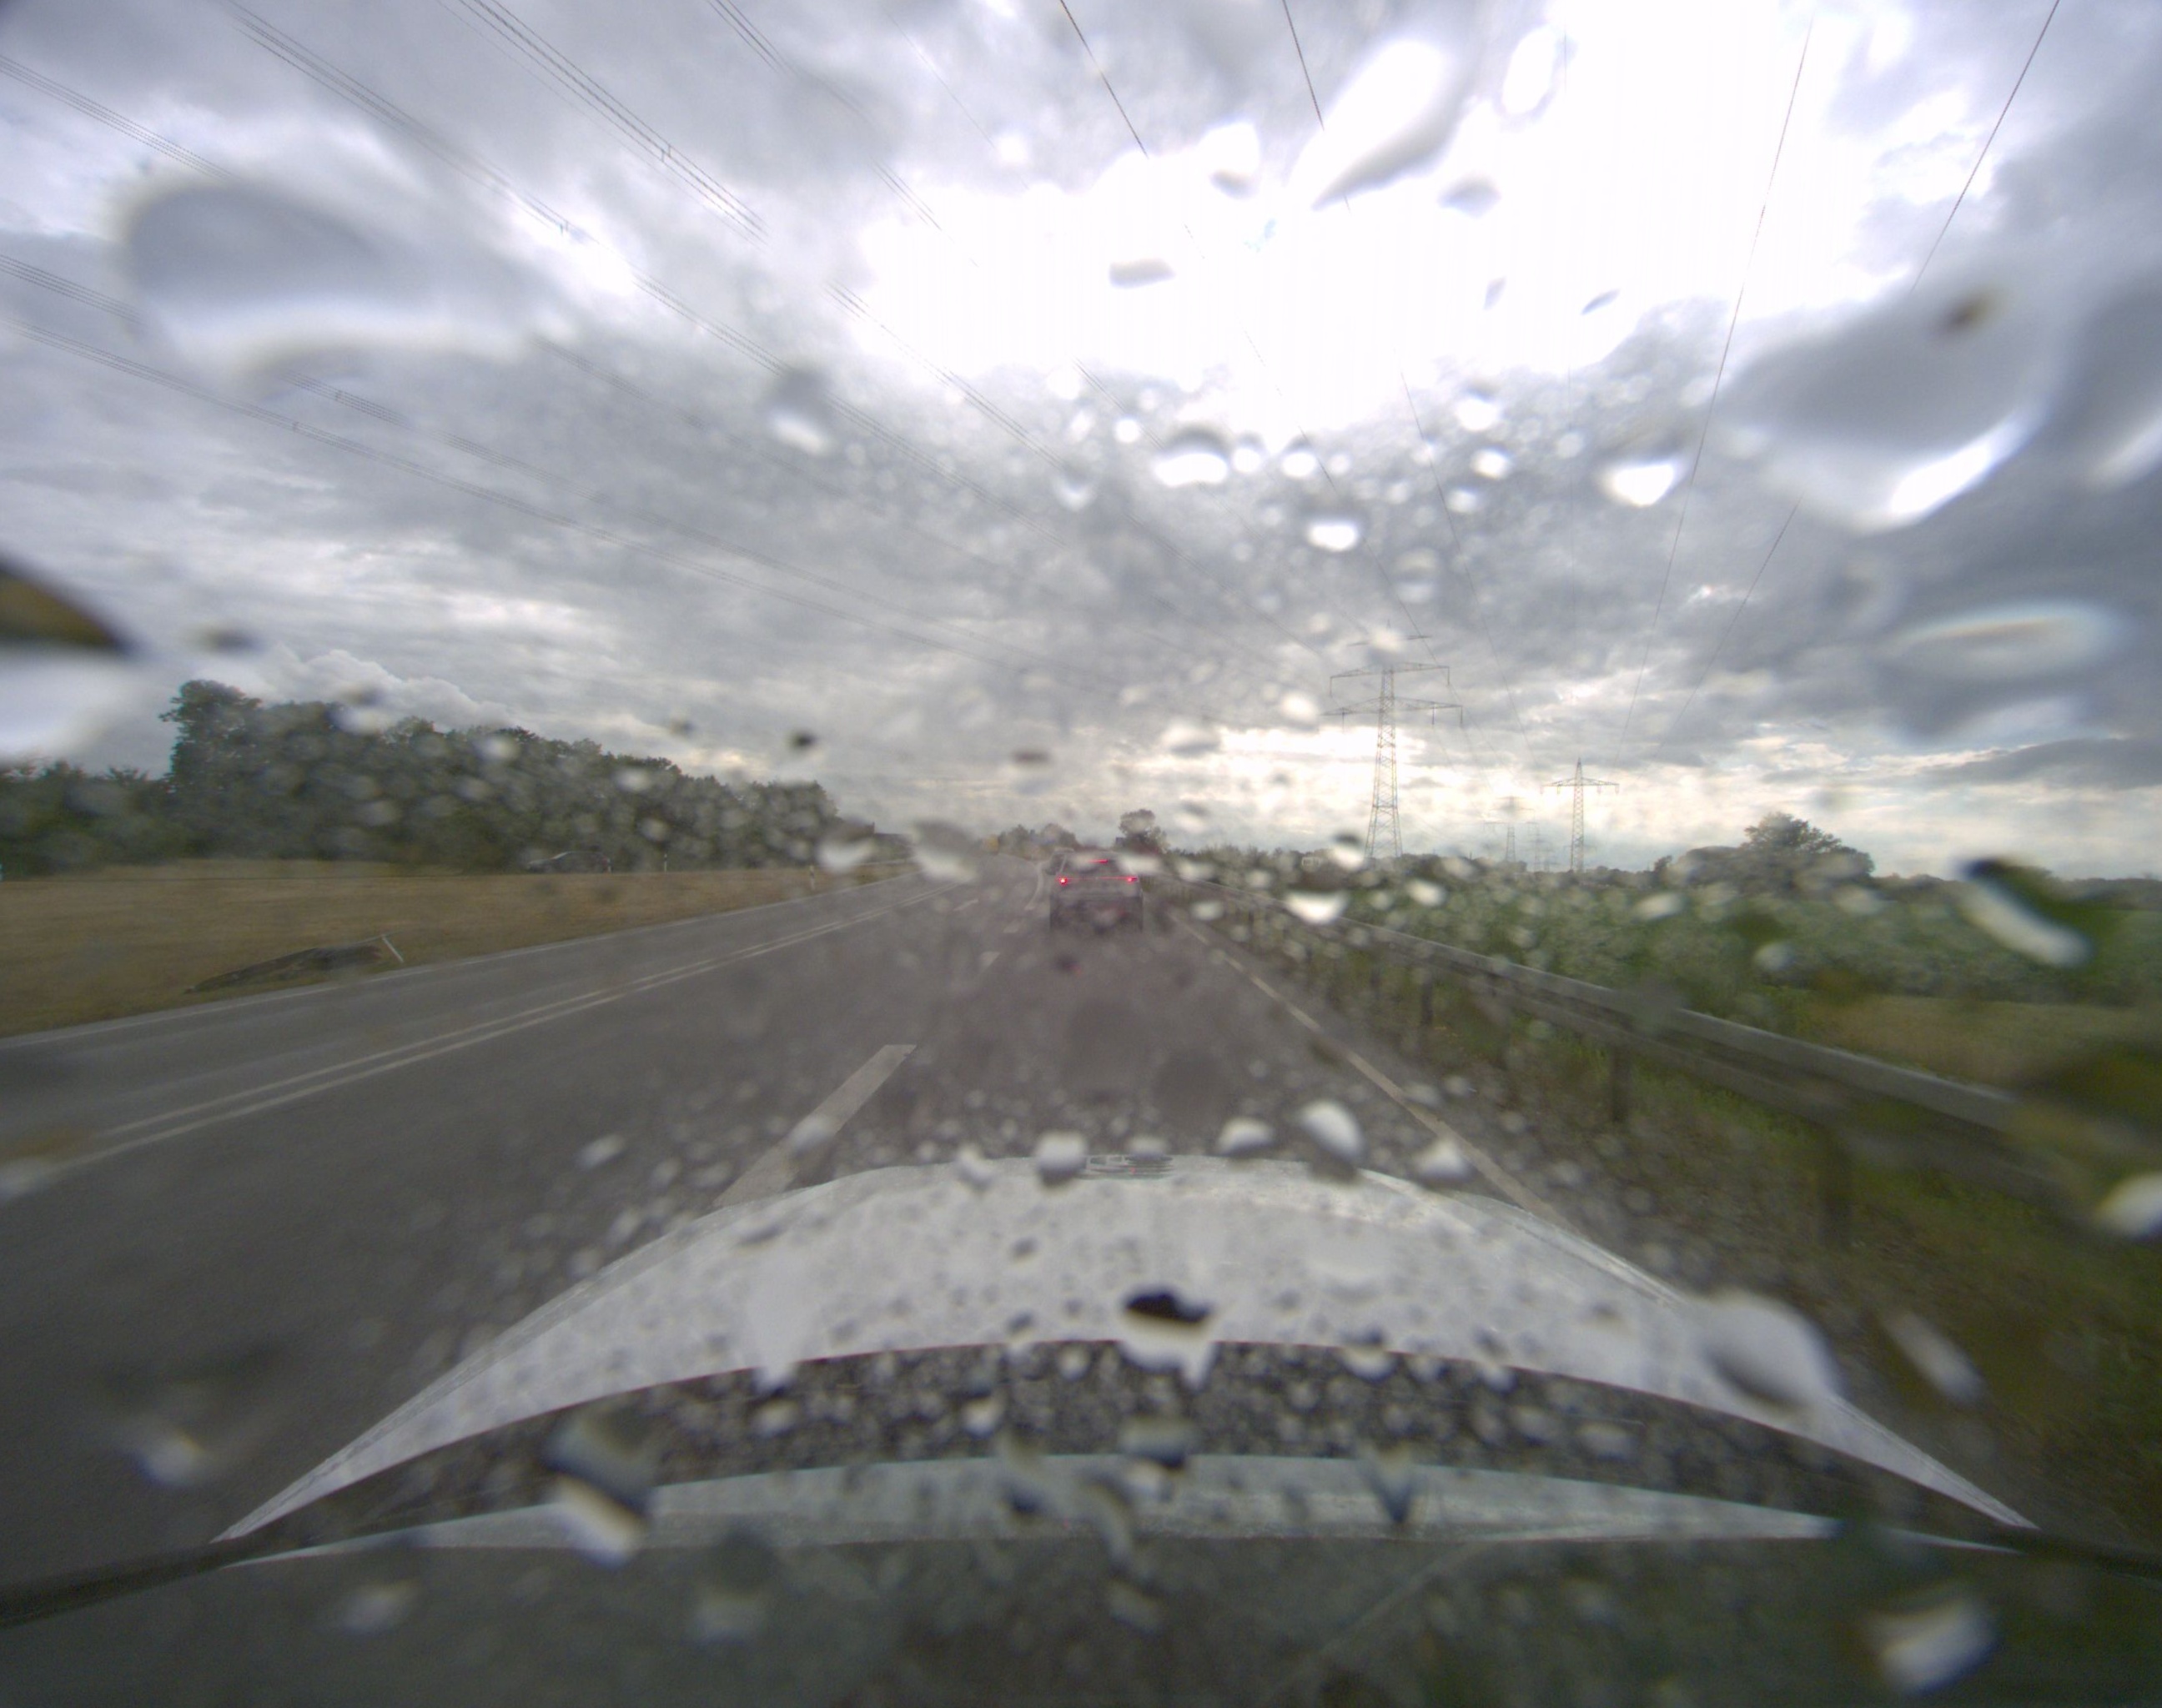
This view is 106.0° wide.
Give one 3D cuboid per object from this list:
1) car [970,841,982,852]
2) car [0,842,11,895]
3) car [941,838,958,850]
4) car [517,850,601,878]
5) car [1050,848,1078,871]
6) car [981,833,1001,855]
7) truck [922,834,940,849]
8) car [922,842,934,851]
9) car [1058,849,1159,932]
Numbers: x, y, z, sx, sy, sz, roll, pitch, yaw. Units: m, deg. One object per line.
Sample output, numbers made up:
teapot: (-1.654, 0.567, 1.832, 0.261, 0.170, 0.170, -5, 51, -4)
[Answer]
car: (-16.741, -1.155, 129.840, 1.790, 1.688, 3.989, 0, -1, -8)
car: (-51.244, 0.625, 35.185, 5.486, 2.391, 2.419, 1, -1, -30)
car: (-27.403, -2.108, 169.330, 2.611, 2.251, 5.497, 1, -2, -20)
car: (-31.950, 0.558, 49.919, 1.962, 1.603, 3.940, -1, 0, 43)
car: (-1.142, 0.415, 55.052, 1.786, 1.441, 3.998, 2, -1, -1)
car: (-12.255, -1.390, 110.785, 2.571, 2.725, 7.178, -2, 1, -7)
truck: (-36.202, -2.936, 195.808, 3.056, 3.385, 7.592, 1, -2, -20)
car: (-26.181, -1.222, 139.345, 1.746, 1.365, 4.032, -4, 0, -12)
car: (0.479, 0.668, 16.472, 1.786, 1.441, 3.999, 0, -1, 0)
